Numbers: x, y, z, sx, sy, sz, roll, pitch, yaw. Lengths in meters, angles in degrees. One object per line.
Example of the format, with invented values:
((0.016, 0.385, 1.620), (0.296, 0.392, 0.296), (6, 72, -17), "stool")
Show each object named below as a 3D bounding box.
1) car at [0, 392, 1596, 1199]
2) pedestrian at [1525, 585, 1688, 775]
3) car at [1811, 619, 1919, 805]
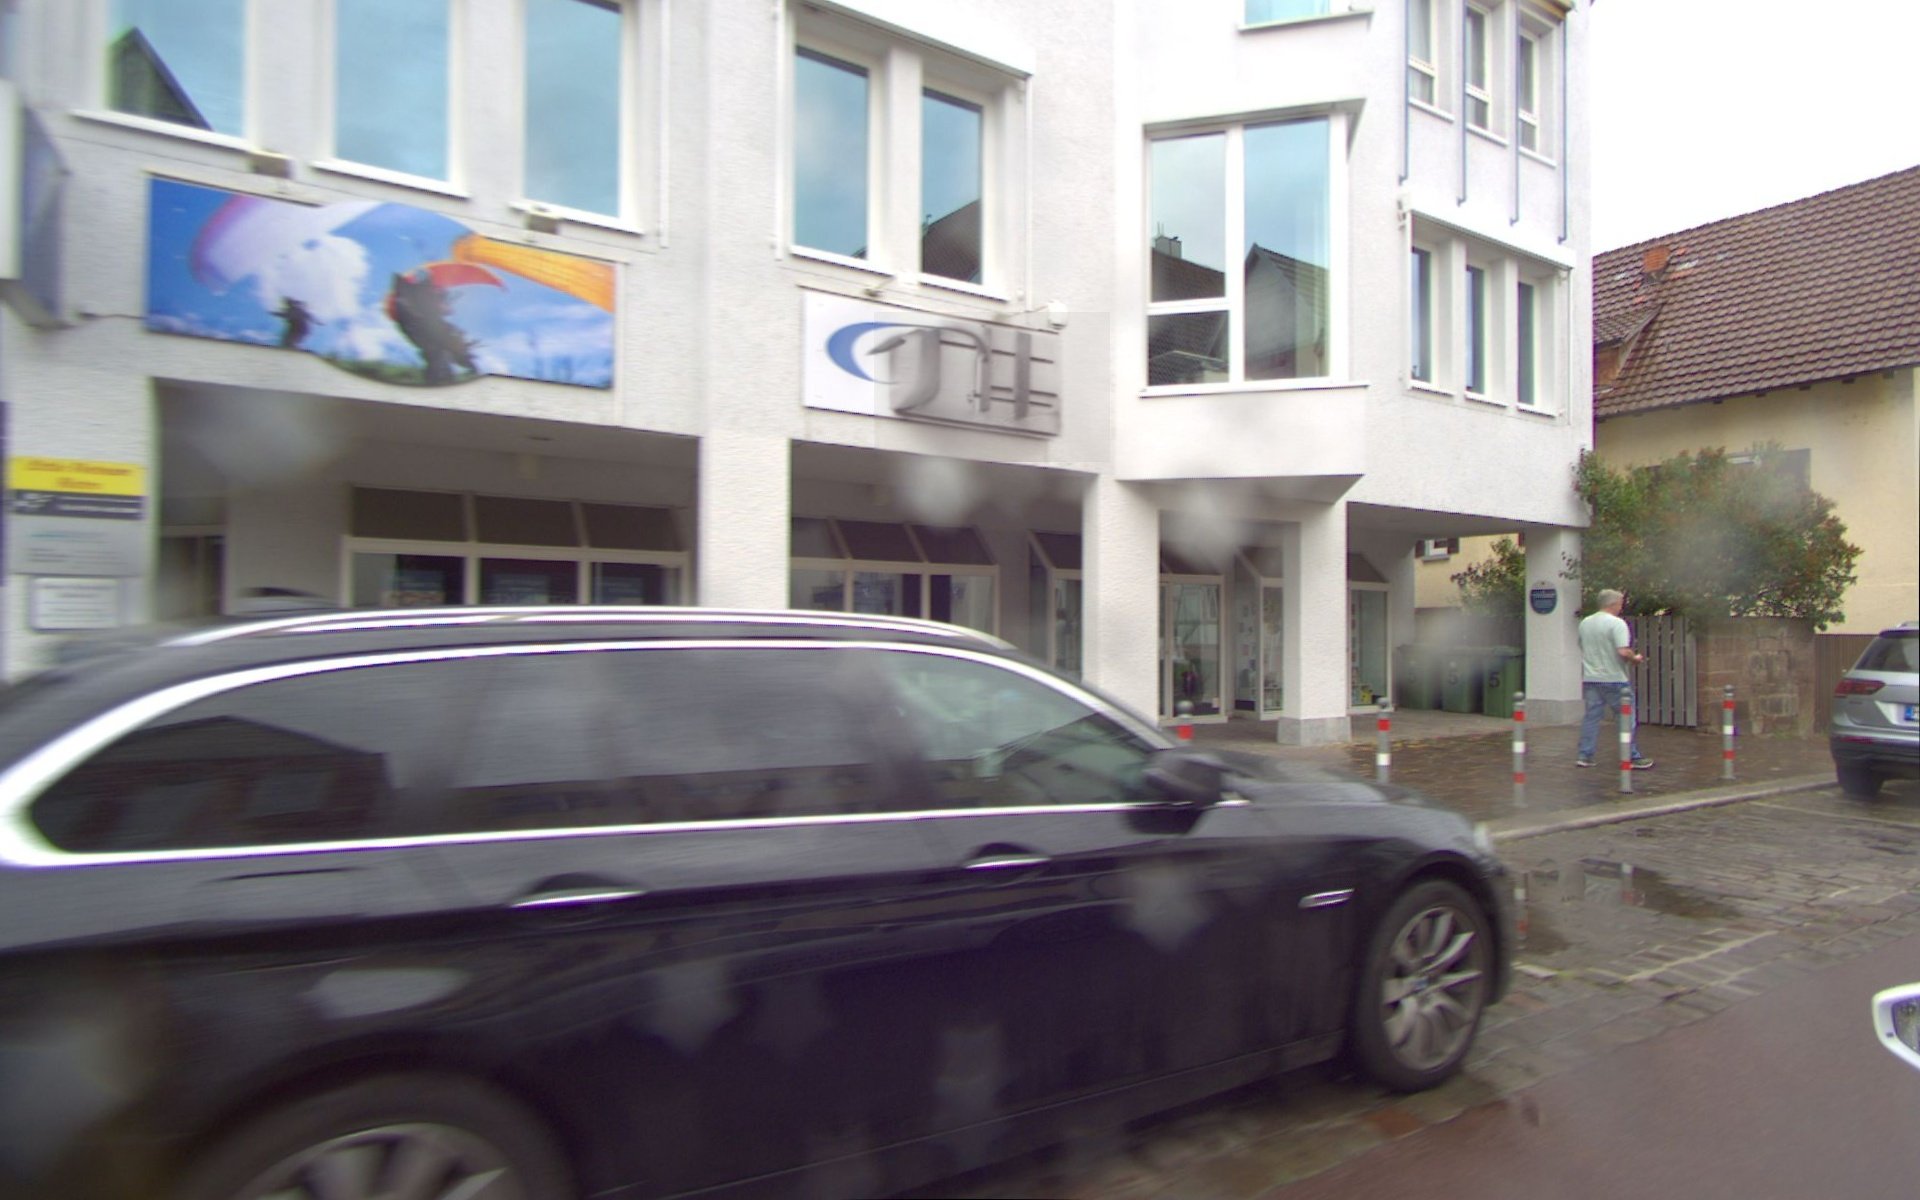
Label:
((-0.312, 0.536, 3.045), (4.707, 1.518, 1.822), (2, -2, -30), "car")
((6.693, 0.786, 10.412), (1.103, 1.830, 1.030), (2, -1, -31), "pedestrian")
((10.148, 1.074, 9.716), (4.361, 1.589, 1.769), (4, -3, -33), "car")
